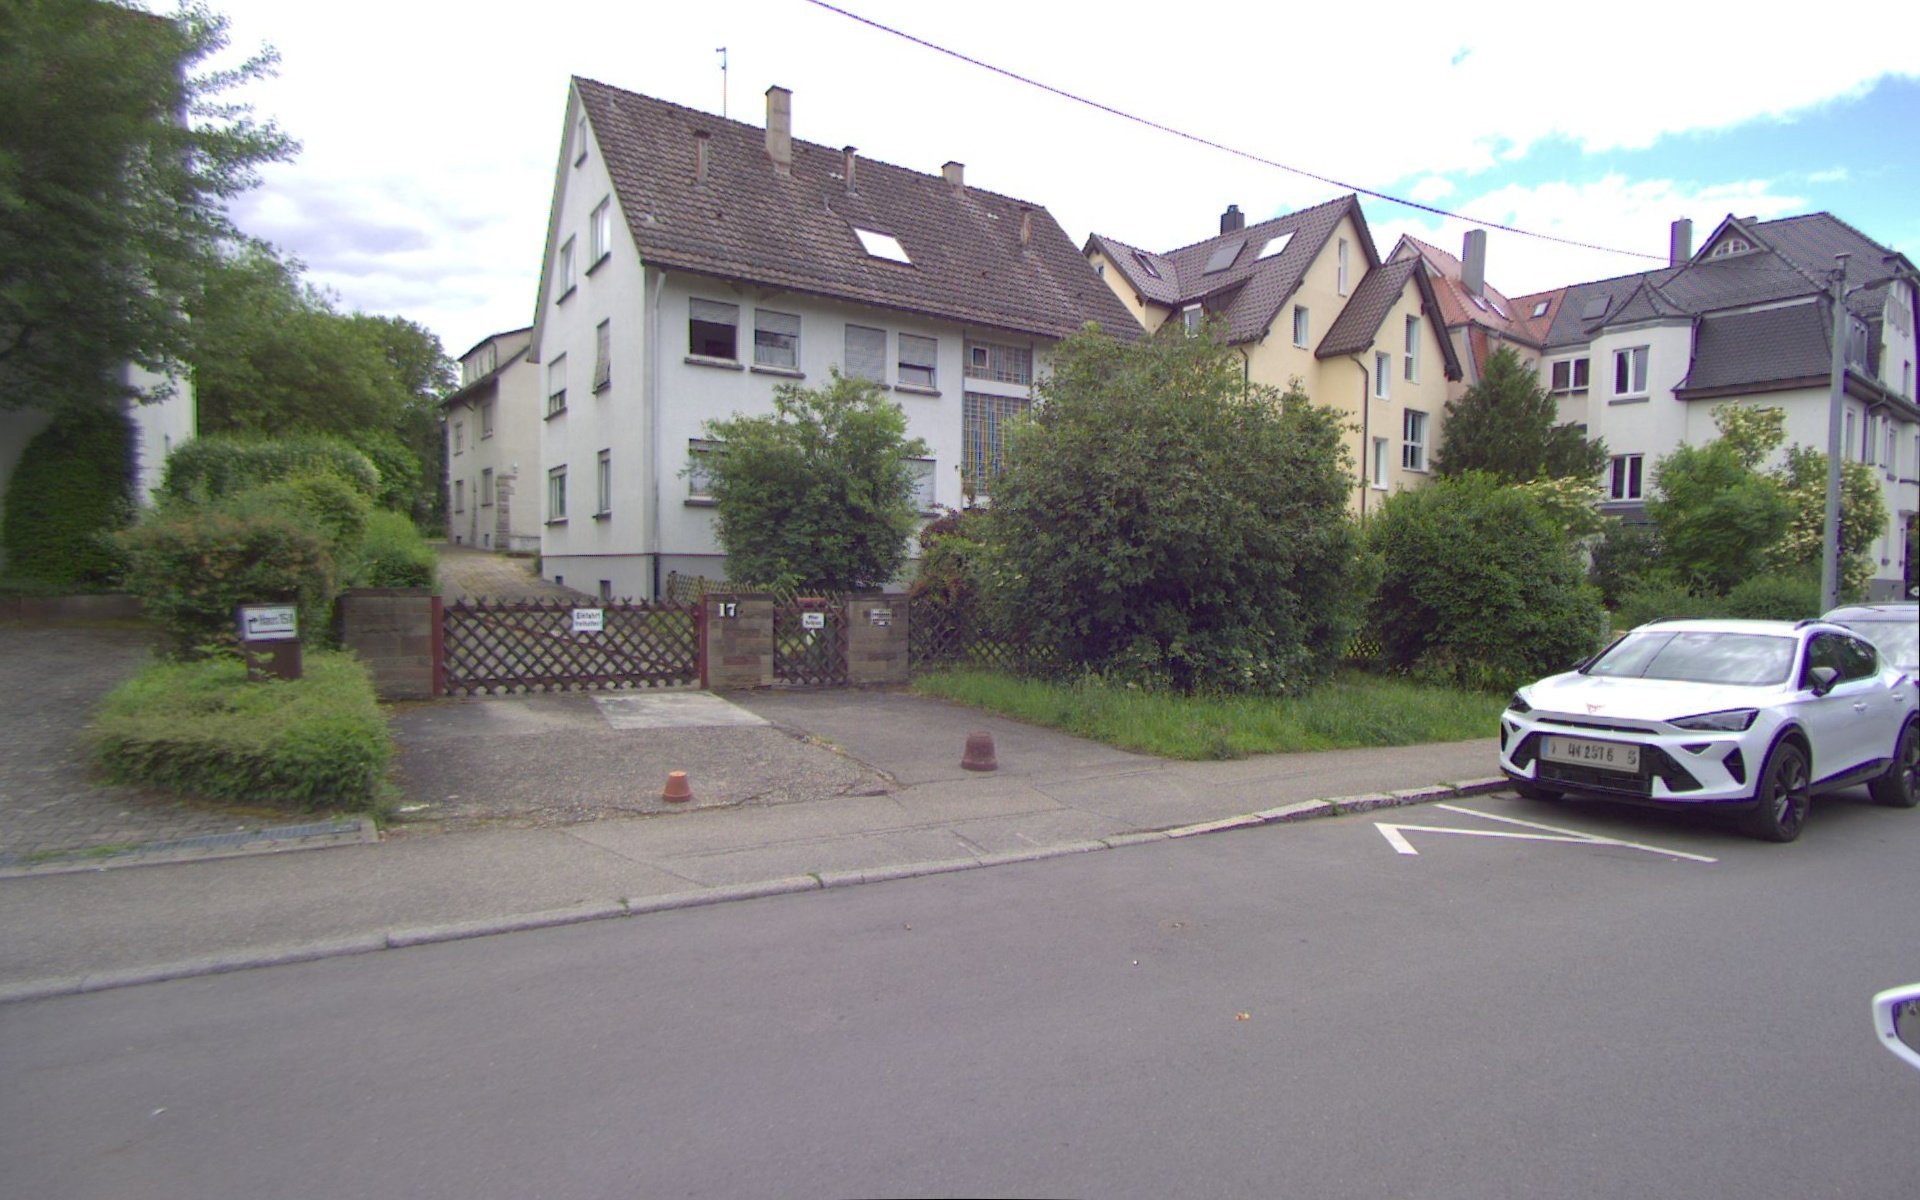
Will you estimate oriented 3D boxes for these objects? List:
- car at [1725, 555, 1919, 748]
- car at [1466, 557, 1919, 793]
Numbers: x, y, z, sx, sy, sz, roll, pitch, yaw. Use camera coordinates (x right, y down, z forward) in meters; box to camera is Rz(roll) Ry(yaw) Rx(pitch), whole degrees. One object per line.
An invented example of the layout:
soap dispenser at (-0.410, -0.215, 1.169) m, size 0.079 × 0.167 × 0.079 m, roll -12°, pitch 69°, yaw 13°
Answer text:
car at (10.687, 0.543, 11.455) m, size 4.369 × 1.788 × 1.733 m, roll 2°, pitch 3°, yaw -35°
car at (6.283, 0.526, 8.339) m, size 4.366 × 1.512 × 1.714 m, roll 2°, pitch 1°, yaw -33°
